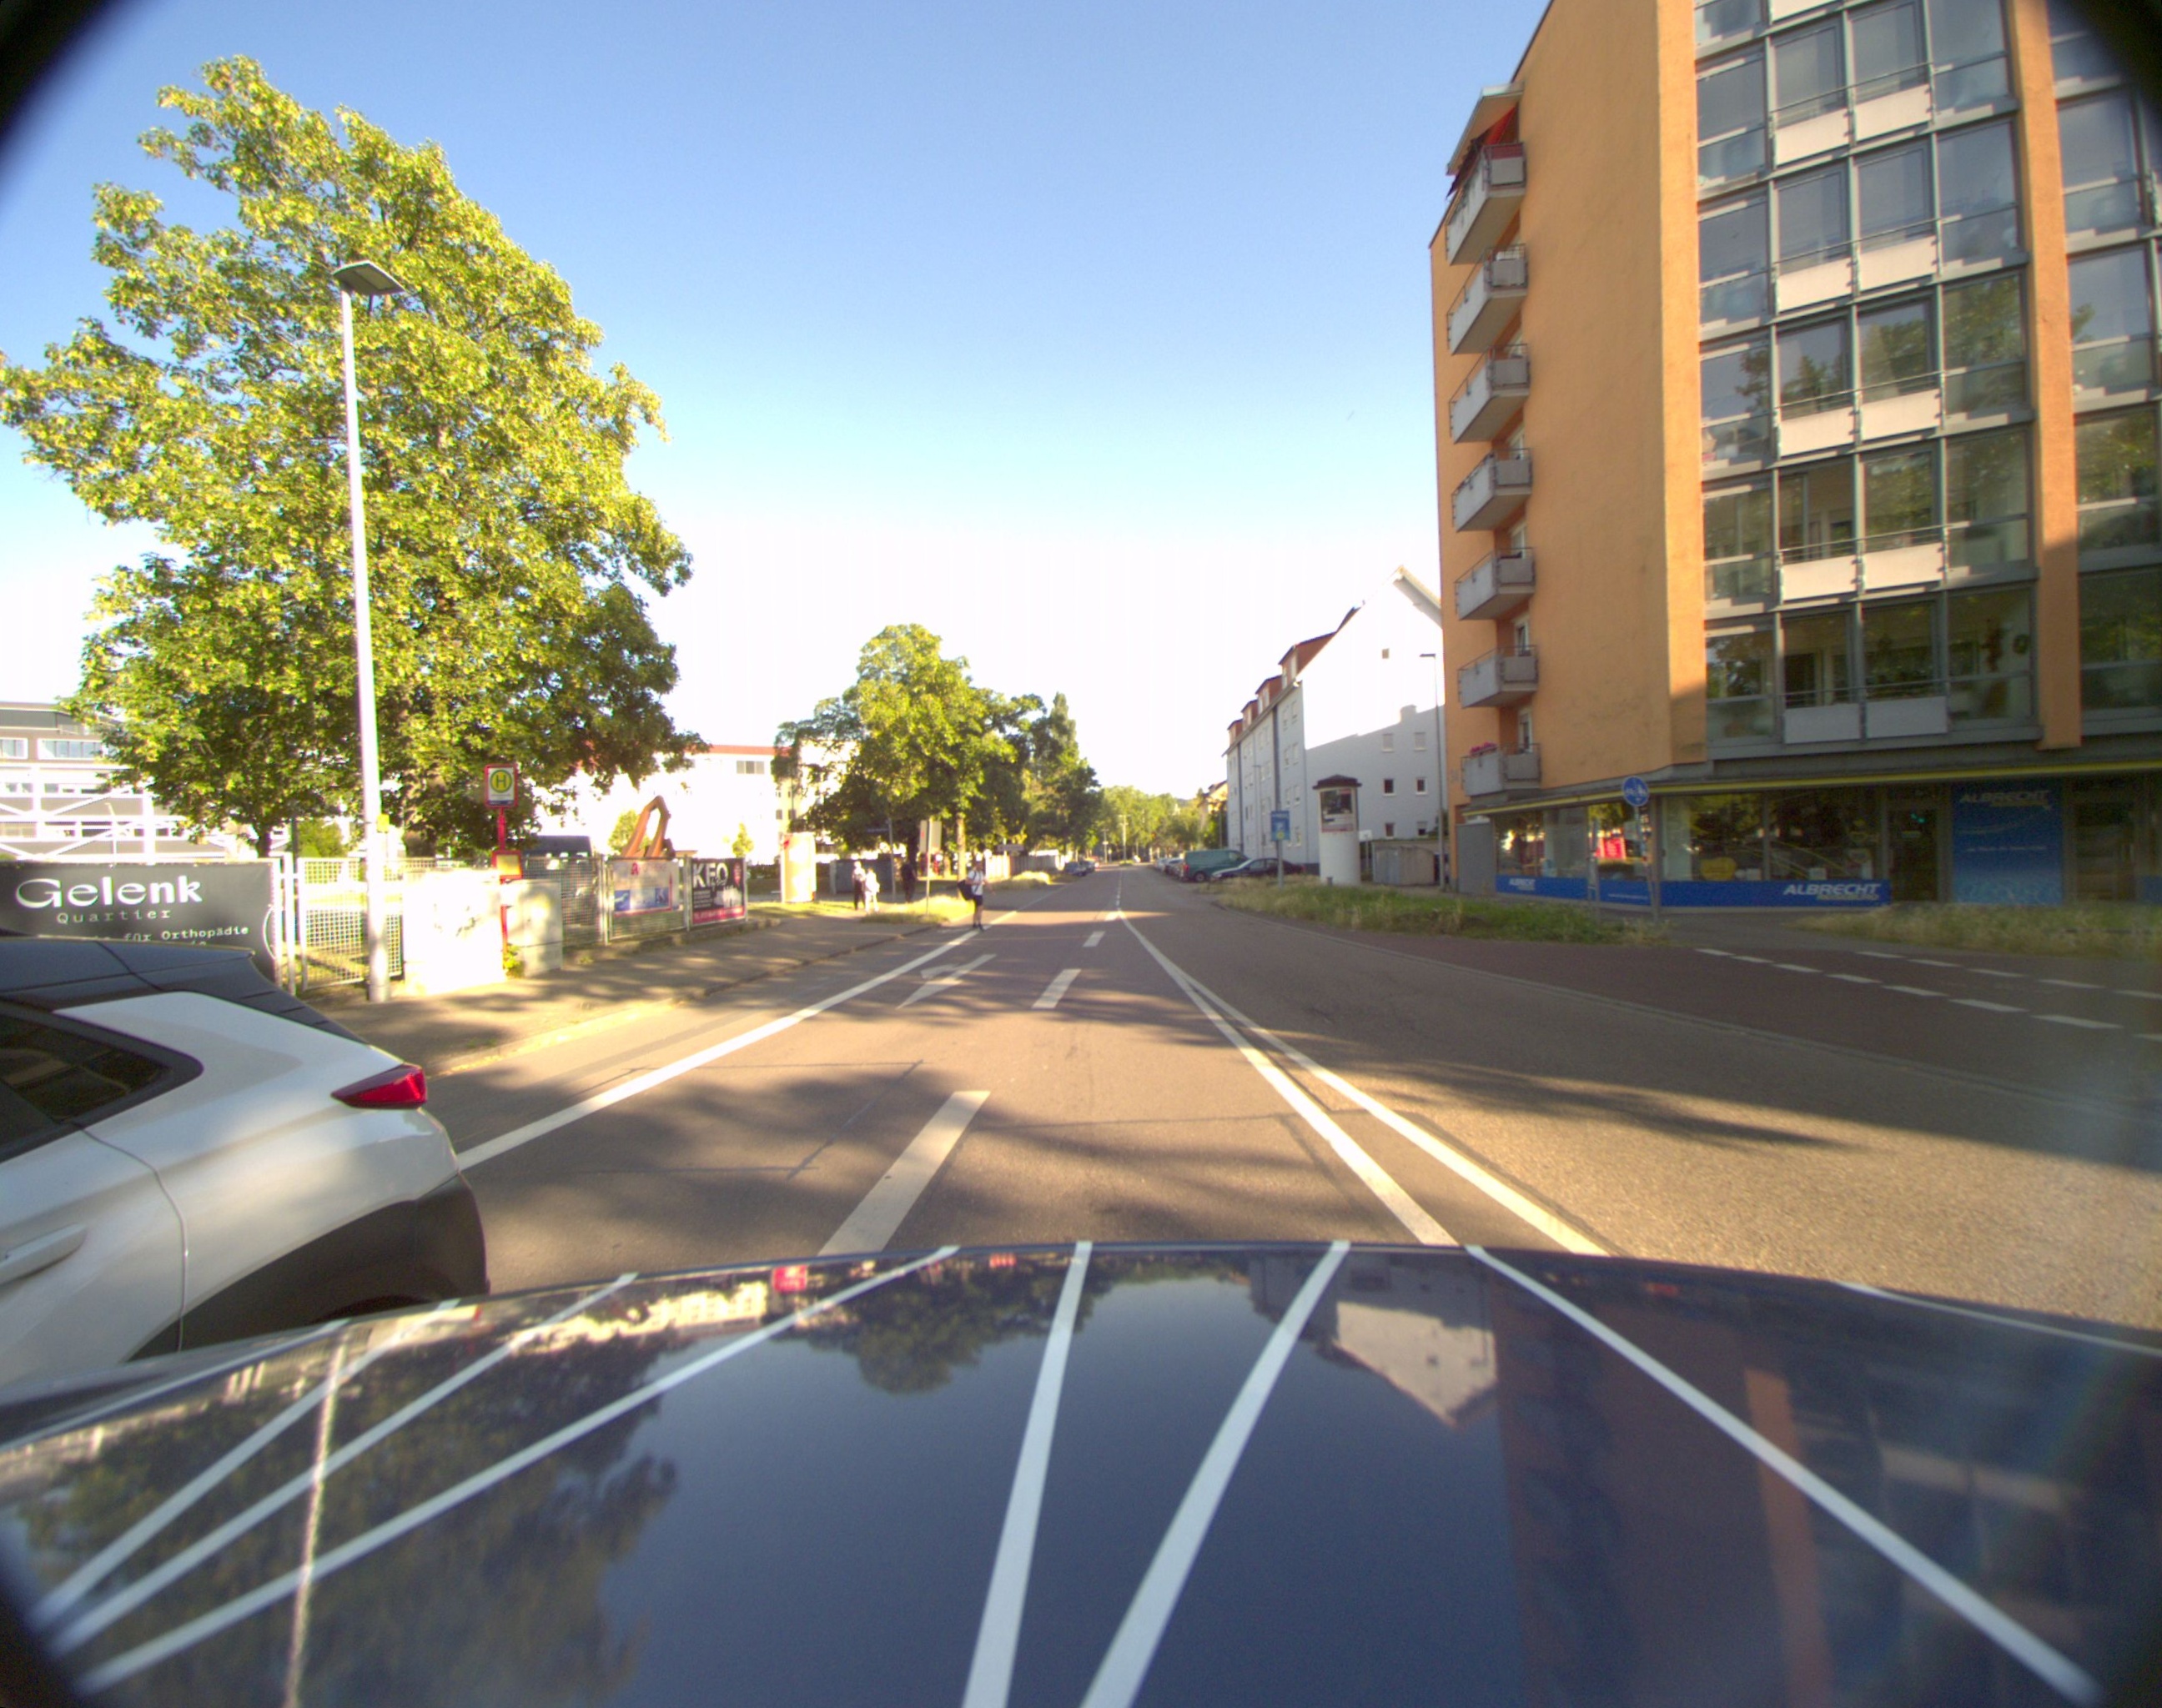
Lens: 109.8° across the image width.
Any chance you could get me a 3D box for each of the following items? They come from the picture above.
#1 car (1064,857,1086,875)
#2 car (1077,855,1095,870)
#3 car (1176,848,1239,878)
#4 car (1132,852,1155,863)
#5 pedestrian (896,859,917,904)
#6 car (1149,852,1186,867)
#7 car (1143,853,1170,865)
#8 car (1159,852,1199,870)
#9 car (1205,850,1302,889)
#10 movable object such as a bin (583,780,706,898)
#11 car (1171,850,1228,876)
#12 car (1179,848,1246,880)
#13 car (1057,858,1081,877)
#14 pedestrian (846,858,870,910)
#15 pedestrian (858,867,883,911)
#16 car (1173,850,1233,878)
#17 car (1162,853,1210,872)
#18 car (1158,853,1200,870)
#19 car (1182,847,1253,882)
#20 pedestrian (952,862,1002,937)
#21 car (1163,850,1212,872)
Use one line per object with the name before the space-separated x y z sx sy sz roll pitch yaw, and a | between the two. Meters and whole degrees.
car | -0.582 1.151 73.947 1.998 1.521 3.999 -2 1 1
car | 0.574 0.951 87.980 1.998 1.521 3.999 -2 1 1
car | 8.503 0.589 51.346 3.995 1.805 2.000 -2 1 5
car | 9.709 0.590 118.226 3.538 1.564 1.867 -2 1 5
pedestrian | -6.723 1.051 29.340 0.696 1.659 0.638 -2 1 -11
car | 10.228 0.646 90.193 4.257 1.564 1.867 -2 1 5
car | 10.473 0.705 105.245 3.538 1.564 1.867 -2 1 5
car | 10.264 0.726 80.069 4.071 1.741 1.899 -2 1 5
car | 8.300 0.733 36.877 4.423 1.652 2.001 -2 1 9
movable object such as a bin | -22.226 -0.703 38.554 3.986 5.447 6.016 -3 1 -42
car | 8.751 0.664 56.440 4.071 1.741 1.899 -2 1 5
car | 8.359 0.625 48.590 3.995 1.805 2.000 -2 1 5
car | -1.085 1.219 69.599 1.998 1.521 3.999 -2 1 1
pedestrian | -7.603 1.020 25.938 0.609 1.727 0.638 -2 1 -5
pedestrian | -7.035 1.171 25.403 0.609 1.426 0.639 -2 1 1
car | 8.574 0.669 53.696 4.059 1.805 1.937 -2 1 5
car | 9.572 0.774 69.377 4.257 1.564 1.867 -2 1 5
car | 10.312 0.757 79.934 4.257 1.564 1.867 -2 1 5
car | 8.197 0.595 45.942 3.996 1.936 2.000 -2 1 4
pedestrian | -2.554 1.074 18.576 0.903 1.727 1.086 -3 1 -21
car | 9.279 0.610 66.491 4.117 1.762 1.757 -2 1 5
